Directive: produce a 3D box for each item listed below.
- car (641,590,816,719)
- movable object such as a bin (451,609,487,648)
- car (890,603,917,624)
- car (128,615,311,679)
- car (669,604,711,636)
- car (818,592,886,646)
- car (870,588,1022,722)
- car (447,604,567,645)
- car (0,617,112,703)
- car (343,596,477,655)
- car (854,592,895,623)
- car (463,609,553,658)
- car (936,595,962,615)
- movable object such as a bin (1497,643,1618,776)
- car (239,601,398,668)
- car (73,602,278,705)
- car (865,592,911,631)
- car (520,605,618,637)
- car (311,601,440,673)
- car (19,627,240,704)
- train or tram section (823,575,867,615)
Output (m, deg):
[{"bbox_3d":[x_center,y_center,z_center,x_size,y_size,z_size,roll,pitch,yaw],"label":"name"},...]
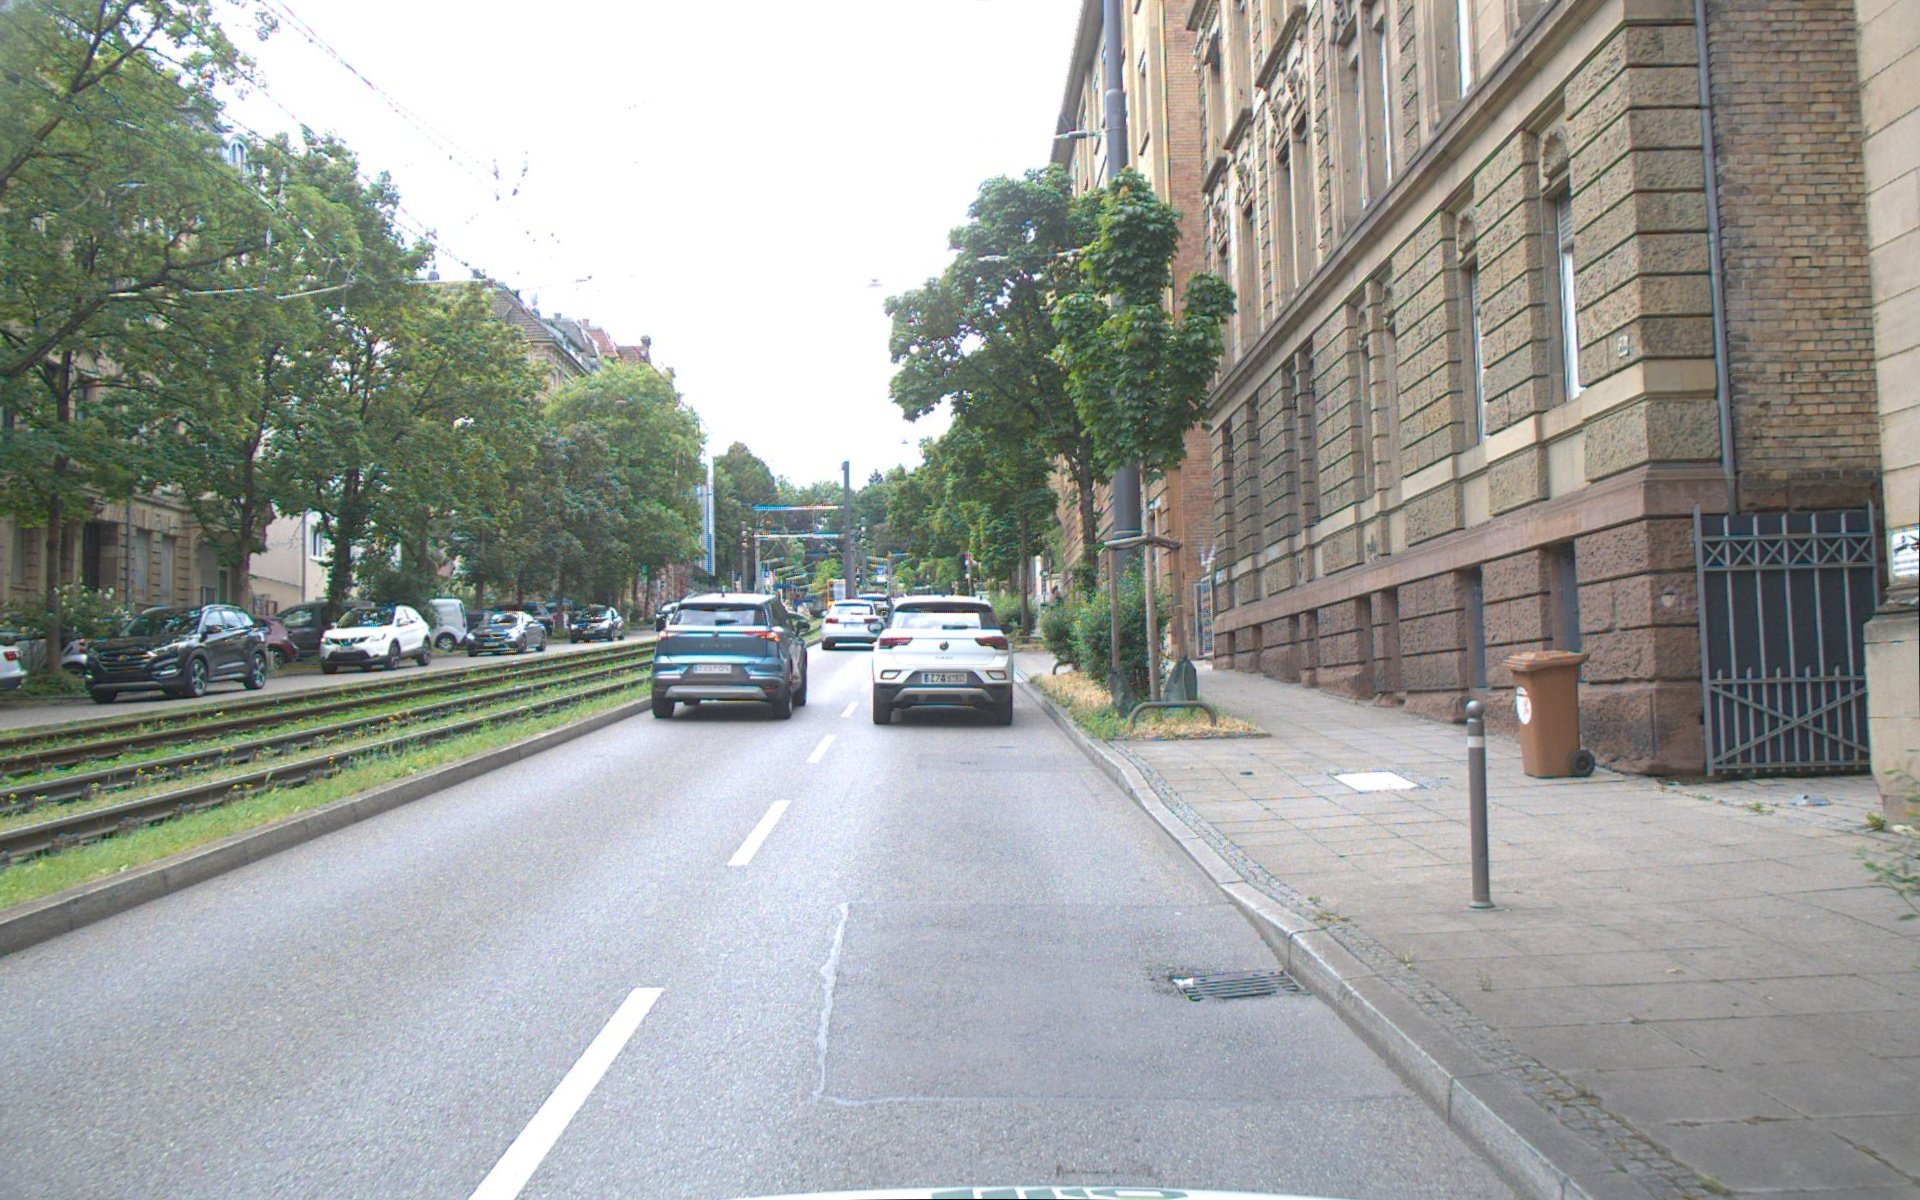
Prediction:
[{"bbox_3d":[-3.010,0.675,22.306,1.798,1.573,4.193,0,0,-1],"label":"car"},{"bbox_3d":[-17.924,1.031,60.427,1.254,1.425,1.091,0,-1,-17],"label":"movable object such as a bin"},{"bbox_3d":[-4.385,1.031,127.851,2.026,1.573,4.191,0,0,-2],"label":"car"},{"bbox_3d":[-19.121,1.185,42.735,4.136,1.460,1.852,-2,0,-31],"label":"car"},{"bbox_3d":[-13.681,1.004,83.918,1.556,1.460,3.411,-3,0,-2],"label":"car"},{"bbox_3d":[-3.235,0.568,50.195,1.798,1.573,4.193,0,0,-1],"label":"car"},{"bbox_3d":[-0.229,0.661,21.692,1.798,1.573,4.192,0,0,-2],"label":"car"},{"bbox_3d":[-19.190,1.023,70.086,4.552,1.711,1.913,0,-1,-34],"label":"car"},{"bbox_3d":[-18.179,1.154,30.781,4.104,1.495,1.765,-2,-1,-34],"label":"car"},{"bbox_3d":[-18.977,0.871,57.082,4.130,1.868,1.854,-2,0,-28],"label":"car"},{"bbox_3d":[-4.454,0.369,85.754,2.027,1.573,4.190,0,0,-4],"label":"car"},{"bbox_3d":[-14.819,1.069,54.467,1.690,1.434,4.597,-3,0,-1],"label":"car"},{"bbox_3d":[-0.909,0.397,134.537,2.026,1.573,4.193,0,0,-1],"label":"car"},{"bbox_3d":[4.524,0.816,12.556,0.657,0.913,0.582,-3,2,-3],"label":"movable object such as a bin"},{"bbox_3d":[-18.875,1.000,48.698,4.136,1.798,1.852,-2,0,-31],"label":"car"},{"bbox_3d":[-14.438,0.926,30.720,1.744,1.685,4.242,-3,0,-1],"label":"car"},{"bbox_3d":[-3.002,0.489,69.726,1.798,1.573,4.193,0,0,-1],"label":"car"},{"bbox_3d":[-20.063,1.067,84.994,4.554,1.646,1.912,0,-1,-35],"label":"car"},{"bbox_3d":[-14.956,0.908,42.571,1.744,1.645,4.345,-3,0,-1],"label":"car"},{"bbox_3d":[-18.302,1.404,36.500,4.142,1.460,1.849,-2,0,-35],"label":"car"},{"bbox_3d":[-10.350,-0.398,149.793,2.934,3.407,13.437,-1,0,0],"label":"train or tram section"}]
